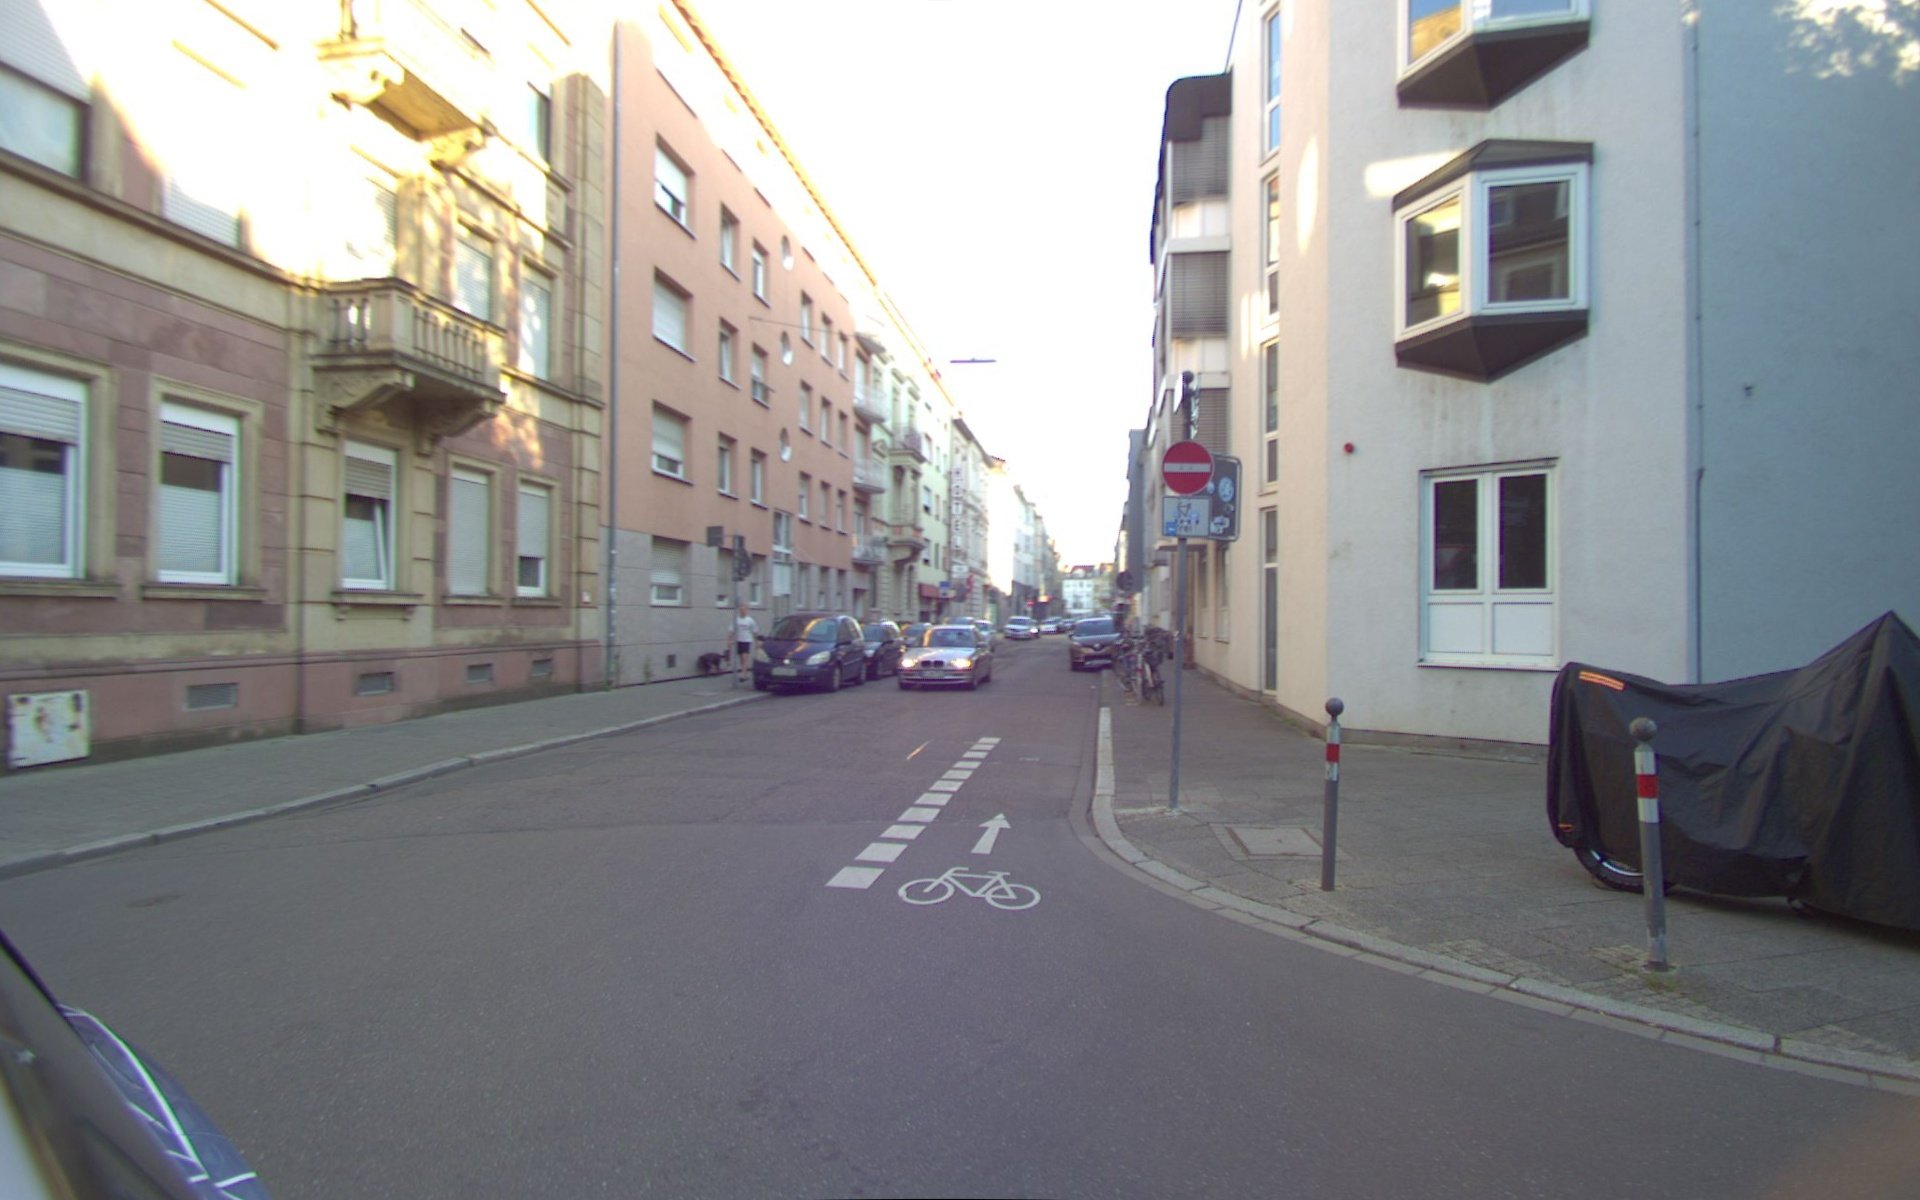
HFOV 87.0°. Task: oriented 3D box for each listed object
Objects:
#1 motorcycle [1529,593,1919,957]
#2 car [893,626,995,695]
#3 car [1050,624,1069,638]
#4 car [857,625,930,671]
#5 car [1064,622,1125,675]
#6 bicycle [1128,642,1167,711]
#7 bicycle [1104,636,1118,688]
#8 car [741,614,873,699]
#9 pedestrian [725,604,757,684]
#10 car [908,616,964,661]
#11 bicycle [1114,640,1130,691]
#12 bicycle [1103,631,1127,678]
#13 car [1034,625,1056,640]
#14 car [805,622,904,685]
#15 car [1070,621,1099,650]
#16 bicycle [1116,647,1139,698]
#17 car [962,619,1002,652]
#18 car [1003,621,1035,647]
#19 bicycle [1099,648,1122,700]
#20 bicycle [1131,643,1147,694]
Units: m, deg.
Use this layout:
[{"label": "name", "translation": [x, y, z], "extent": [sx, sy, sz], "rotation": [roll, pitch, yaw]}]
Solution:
[{"label": "motorcycle", "translation": [4.108, 0.768, 5.017], "extent": [0.658, 1.567, 2.168], "rotation": [1, -2, -34]}, {"label": "car", "translation": [-0.274, 1.318, 23.361], "extent": [1.663, 1.414, 4.459], "rotation": [-2, -2, 8]}, {"label": "car", "translation": [10.295, 3.133, 104.273], "extent": [1.711, 1.409, 3.881], "rotation": [0, -1, 9]}, {"label": "car", "translation": [-2.175, 1.566, 34.078], "extent": [1.675, 1.469, 4.121], "rotation": [0, -1, 8]}, {"label": "car", "translation": [4.230, 1.500, 32.254], "extent": [1.775, 1.588, 4.062], "rotation": [0, -1, 6]}, {"label": "bicycle", "translation": [3.268, 1.308, 17.761], "extent": [0.396, 1.111, 1.812], "rotation": [-1, -2, 2]}, {"label": "bicycle", "translation": [3.778, 1.516, 25.273], "extent": [0.304, 1.232, 1.808], "rotation": [-1, -2, 9]}, {"label": "car", "translation": [-3.165, 1.143, 21.682], "extent": [1.676, 1.637, 4.043], "rotation": [0, -1, 9]}, {"label": "pedestrian", "translation": [-4.916, 0.980, 22.724], "extent": [0.544, 1.757, 0.567], "rotation": [0, -2, 7]}, {"label": "car", "translation": [-0.917, 1.532, 40.965], "extent": [1.675, 1.754, 4.099], "rotation": [0, -1, 8]}, {"label": "bicycle", "translation": [3.573, 1.427, 22.368], "extent": [0.304, 1.050, 1.808], "rotation": [-1, -2, 9]}, {"label": "bicycle", "translation": [4.203, 1.455, 27.401], "extent": [0.590, 1.196, 2.259], "rotation": [-1, -2, 9]}, {"label": "car", "translation": [7.971, 3.045, 94.658], "extent": [1.711, 1.409, 3.881], "rotation": [0, -1, 9]}, {"label": "car", "translation": [-2.690, 1.345, 26.739], "extent": [1.675, 1.525, 4.272], "rotation": [0, -1, 8]}, {"label": "car", "translation": [7.494, 2.113, 61.193], "extent": [1.623, 1.724, 3.776], "rotation": [0, -1, 6]}, {"label": "bicycle", "translation": [3.329, 1.429, 20.184], "extent": [0.304, 0.939, 1.810], "rotation": [0, -2, 5]}, {"label": "car", "translation": [1.126, 1.724, 49.794], "extent": [1.556, 1.591, 3.581], "rotation": [0, -1, 8]}, {"label": "car", "translation": [4.318, 2.438, 73.578], "extent": [1.823, 1.708, 4.346], "rotation": [4, -1, 9]}, {"label": "bicycle", "translation": [3.002, 1.457, 20.242], "extent": [0.304, 0.939, 1.811], "rotation": [-1, -1, 4]}, {"label": "bicycle", "translation": [3.950, 1.501, 22.401], "extent": [0.304, 1.050, 1.808], "rotation": [-1, -2, 9]}]
